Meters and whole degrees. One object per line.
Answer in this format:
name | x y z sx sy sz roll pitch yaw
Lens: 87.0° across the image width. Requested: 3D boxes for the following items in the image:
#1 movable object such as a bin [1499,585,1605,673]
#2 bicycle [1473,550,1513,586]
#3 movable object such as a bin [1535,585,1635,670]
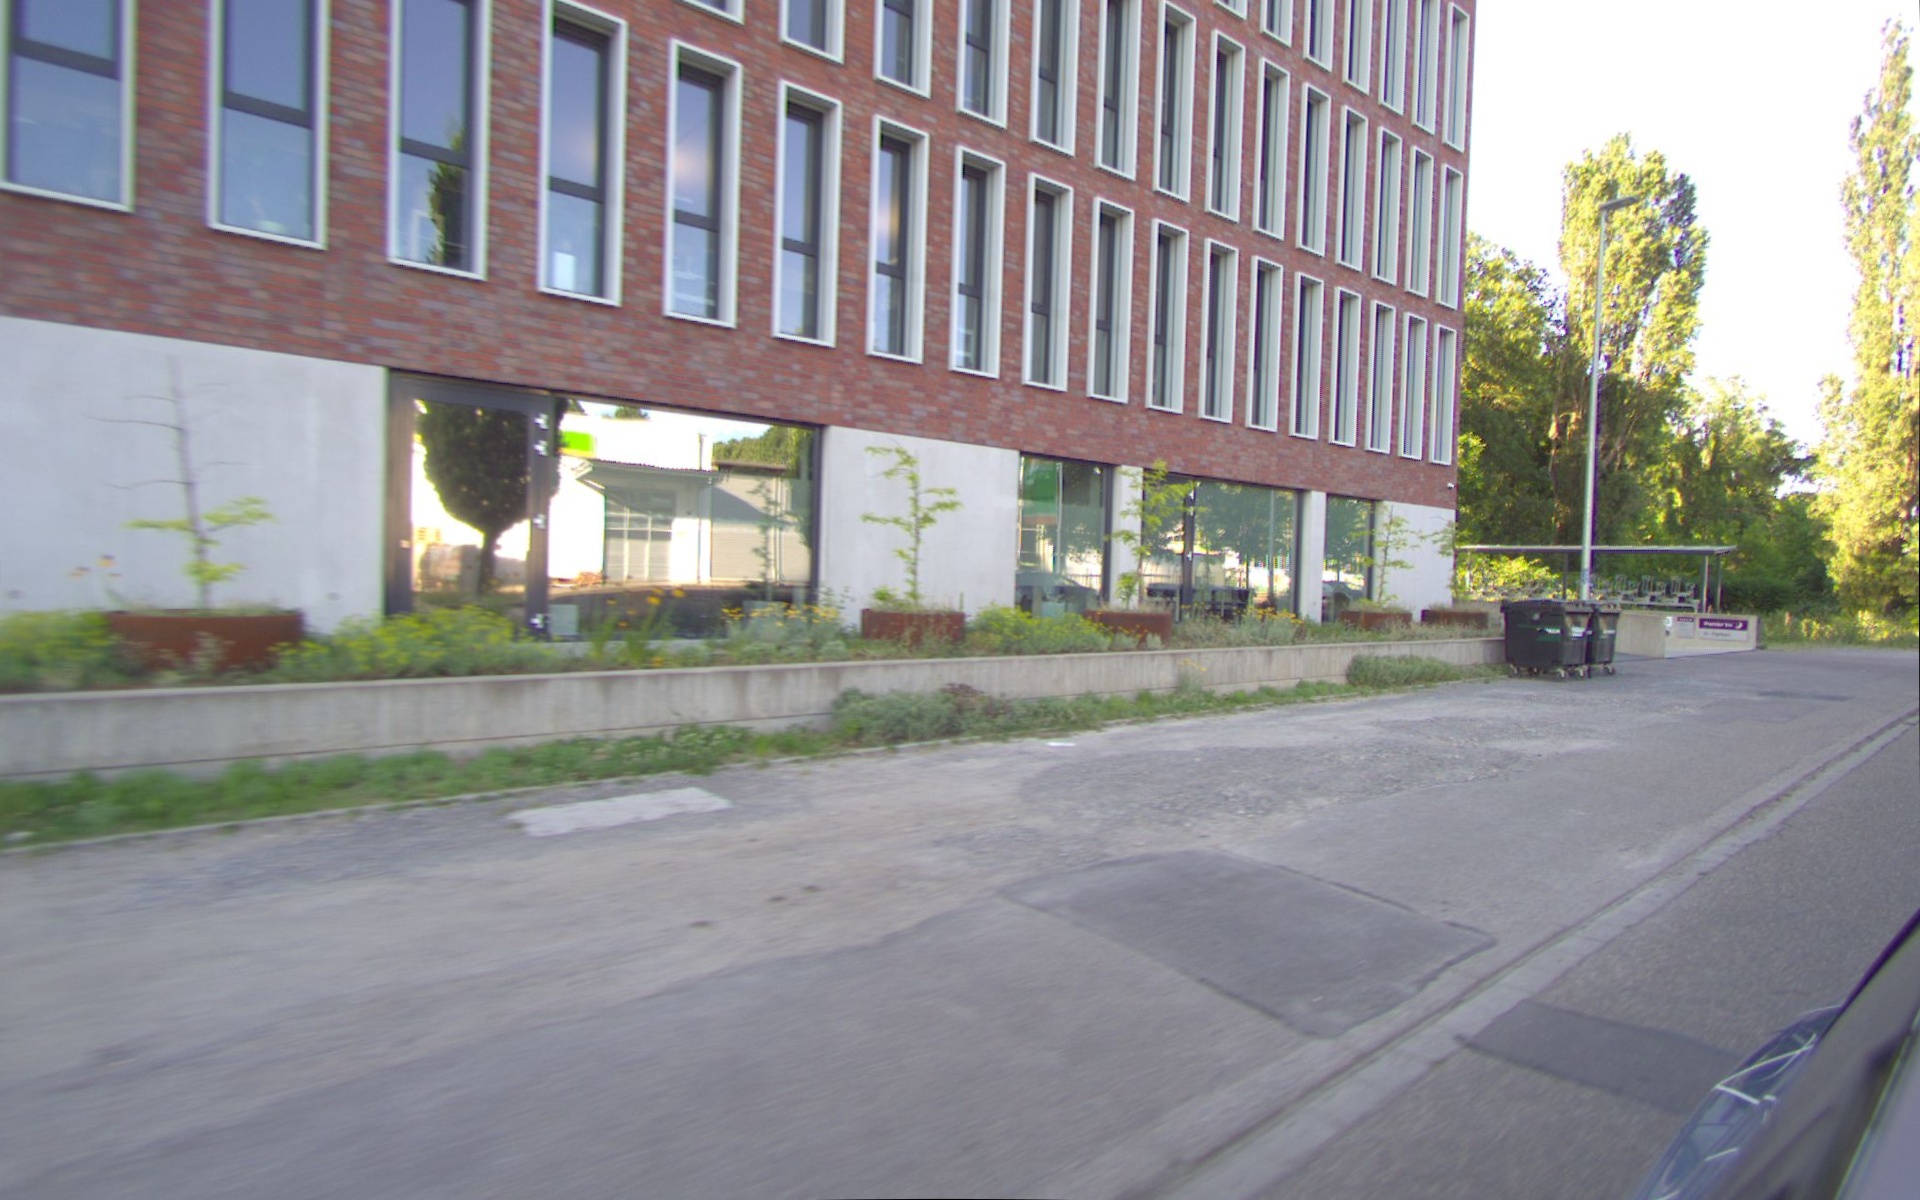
movable object such as a bin | 9.845 0.456 16.832 1.322 1.352 1.130 0 2 -42
bicycle | 19.810 -1.184 37.629 1.955 1.337 0.632 -1 2 -41
movable object such as a bin | 11.069 0.460 17.917 1.322 1.388 1.130 0 2 -42
